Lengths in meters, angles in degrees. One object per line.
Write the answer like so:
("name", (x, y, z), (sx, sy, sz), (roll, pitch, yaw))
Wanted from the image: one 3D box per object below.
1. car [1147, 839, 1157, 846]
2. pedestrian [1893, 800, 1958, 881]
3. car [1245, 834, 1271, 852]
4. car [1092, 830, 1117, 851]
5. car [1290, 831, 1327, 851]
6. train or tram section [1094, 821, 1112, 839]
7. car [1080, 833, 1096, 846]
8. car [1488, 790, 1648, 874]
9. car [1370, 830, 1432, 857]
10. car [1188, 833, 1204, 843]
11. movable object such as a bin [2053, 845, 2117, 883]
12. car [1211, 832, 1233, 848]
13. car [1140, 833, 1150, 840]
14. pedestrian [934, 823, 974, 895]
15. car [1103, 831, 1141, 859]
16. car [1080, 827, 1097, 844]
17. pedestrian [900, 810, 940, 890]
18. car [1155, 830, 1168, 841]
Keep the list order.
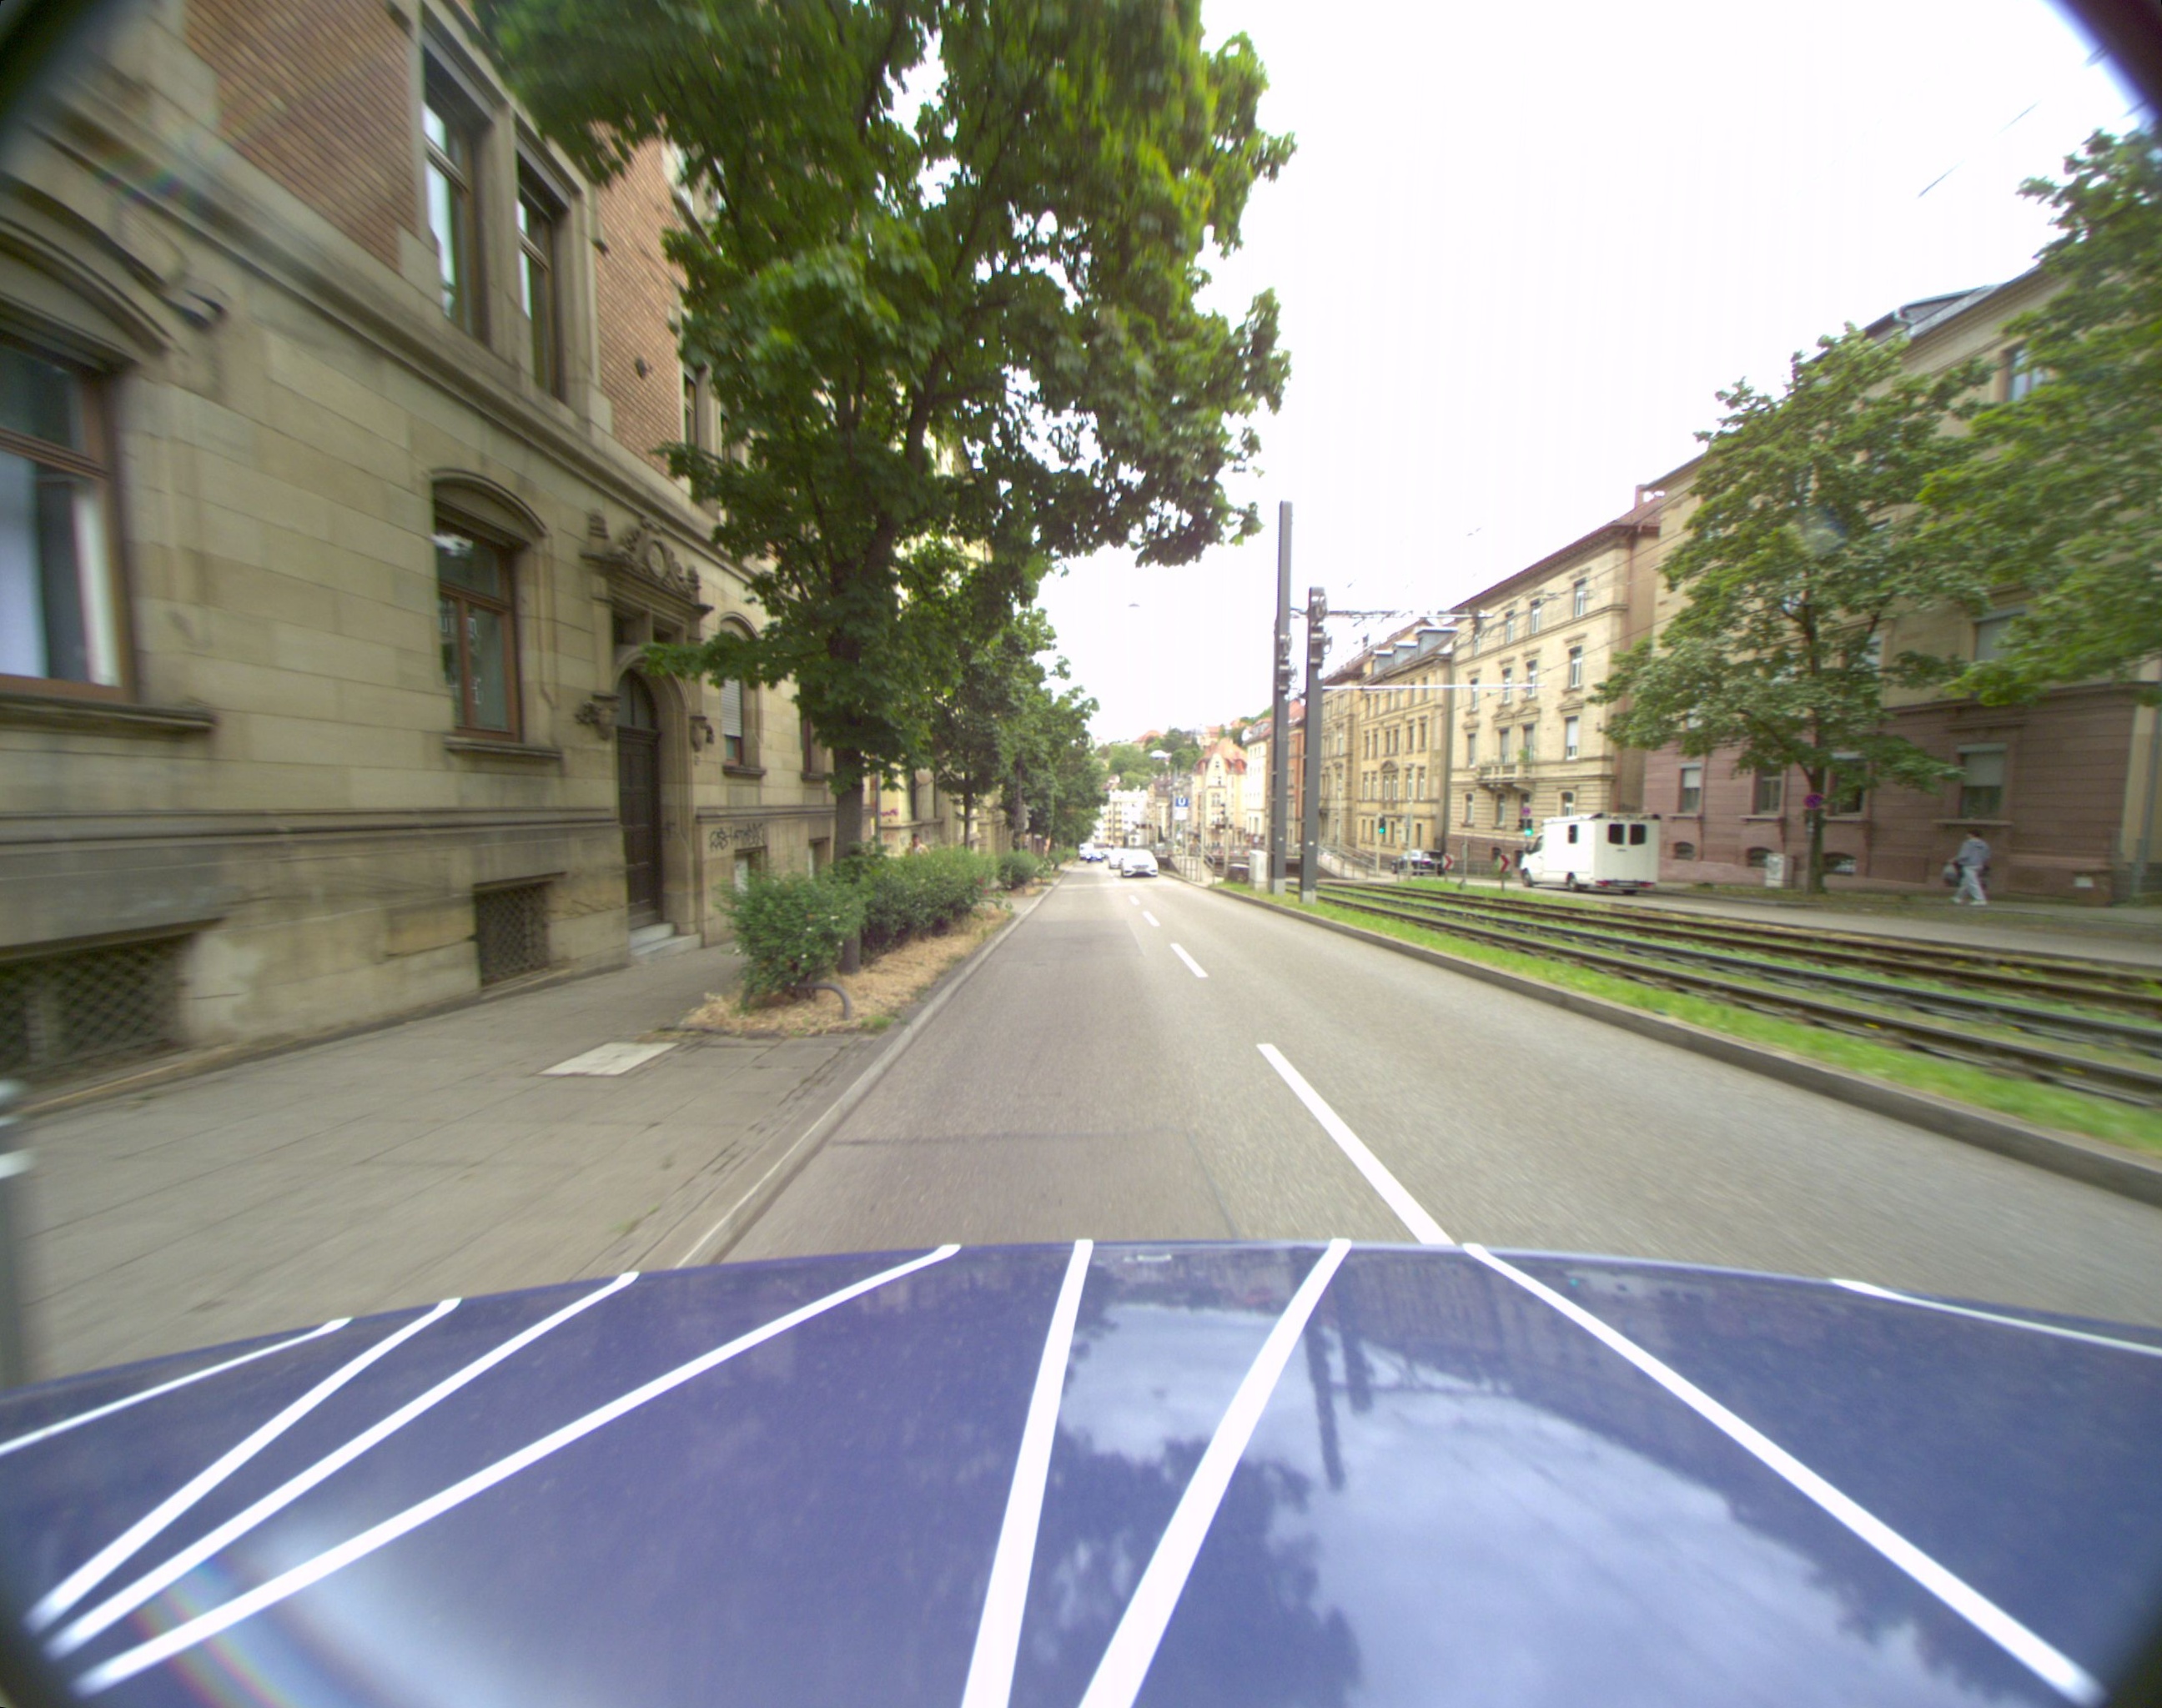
("car", (16.136, -2.654, 173.780), (1.867, 1.636, 4.413), (0, 2, -1))
("pedestrian", (21.444, -0.341, 19.311), (0.722, 2.002, 0.797), (0, 1, -1))
("car", (19.260, -1.207, 82.845), (1.853, 1.849, 4.137), (0, 2, 1))
("car", (1.752, -1.042, 57.676), (1.806, 1.542, 3.999), (-1, 1, 0))
("car", (16.173, -0.935, 54.077), (1.580, 1.370, 3.654), (0, 2, 1))
("train or tram section", (4.377, -4.815, 155.091), (2.968, 3.457, 14.403), (1, 1, -1))
("car", (0.808, -1.666, 85.466), (1.694, 1.466, 3.856), (0, 2, 1))
("car", (17.672, -0.811, 28.151), (2.396, 2.684, 6.520), (2, 2, 8))
("car", (18.379, -0.643, 43.917), (1.752, 1.420, 4.748), (1, 2, 3))
("car", (17.687, -2.435, 116.541), (1.883, 1.519, 3.999), (1, 1, 1))
("movable object such as a bin", (22.963, 0.225, 17.391), (0.584, 0.831, 0.628), (0, 2, 1))
("car", (16.040, -1.590, 86.751), (1.713, 1.726, 4.575), (0, 2, 1))
("car", (16.002, -4.388, 190.975), (1.999, 1.884, 4.413), (0, 2, -1))
("pedestrian", (-2.948, 0.093, 17.675), (0.687, 1.566, 1.215), (2, 4, 1))
("car", (2.152, -0.506, 40.665), (1.806, 1.392, 3.999), (-1, 1, 0))
("car", (1.050, -2.538, 107.007), (2.263, 2.274, 5.966), (-1, 1, 0))
("pedestrian", (-3.811, -0.118, 18.035), (0.687, 1.820, 1.120), (2, 4, 1))
("car", (16.537, -3.769, 156.447), (1.998, 2.292, 5.453), (0, 2, 1))
